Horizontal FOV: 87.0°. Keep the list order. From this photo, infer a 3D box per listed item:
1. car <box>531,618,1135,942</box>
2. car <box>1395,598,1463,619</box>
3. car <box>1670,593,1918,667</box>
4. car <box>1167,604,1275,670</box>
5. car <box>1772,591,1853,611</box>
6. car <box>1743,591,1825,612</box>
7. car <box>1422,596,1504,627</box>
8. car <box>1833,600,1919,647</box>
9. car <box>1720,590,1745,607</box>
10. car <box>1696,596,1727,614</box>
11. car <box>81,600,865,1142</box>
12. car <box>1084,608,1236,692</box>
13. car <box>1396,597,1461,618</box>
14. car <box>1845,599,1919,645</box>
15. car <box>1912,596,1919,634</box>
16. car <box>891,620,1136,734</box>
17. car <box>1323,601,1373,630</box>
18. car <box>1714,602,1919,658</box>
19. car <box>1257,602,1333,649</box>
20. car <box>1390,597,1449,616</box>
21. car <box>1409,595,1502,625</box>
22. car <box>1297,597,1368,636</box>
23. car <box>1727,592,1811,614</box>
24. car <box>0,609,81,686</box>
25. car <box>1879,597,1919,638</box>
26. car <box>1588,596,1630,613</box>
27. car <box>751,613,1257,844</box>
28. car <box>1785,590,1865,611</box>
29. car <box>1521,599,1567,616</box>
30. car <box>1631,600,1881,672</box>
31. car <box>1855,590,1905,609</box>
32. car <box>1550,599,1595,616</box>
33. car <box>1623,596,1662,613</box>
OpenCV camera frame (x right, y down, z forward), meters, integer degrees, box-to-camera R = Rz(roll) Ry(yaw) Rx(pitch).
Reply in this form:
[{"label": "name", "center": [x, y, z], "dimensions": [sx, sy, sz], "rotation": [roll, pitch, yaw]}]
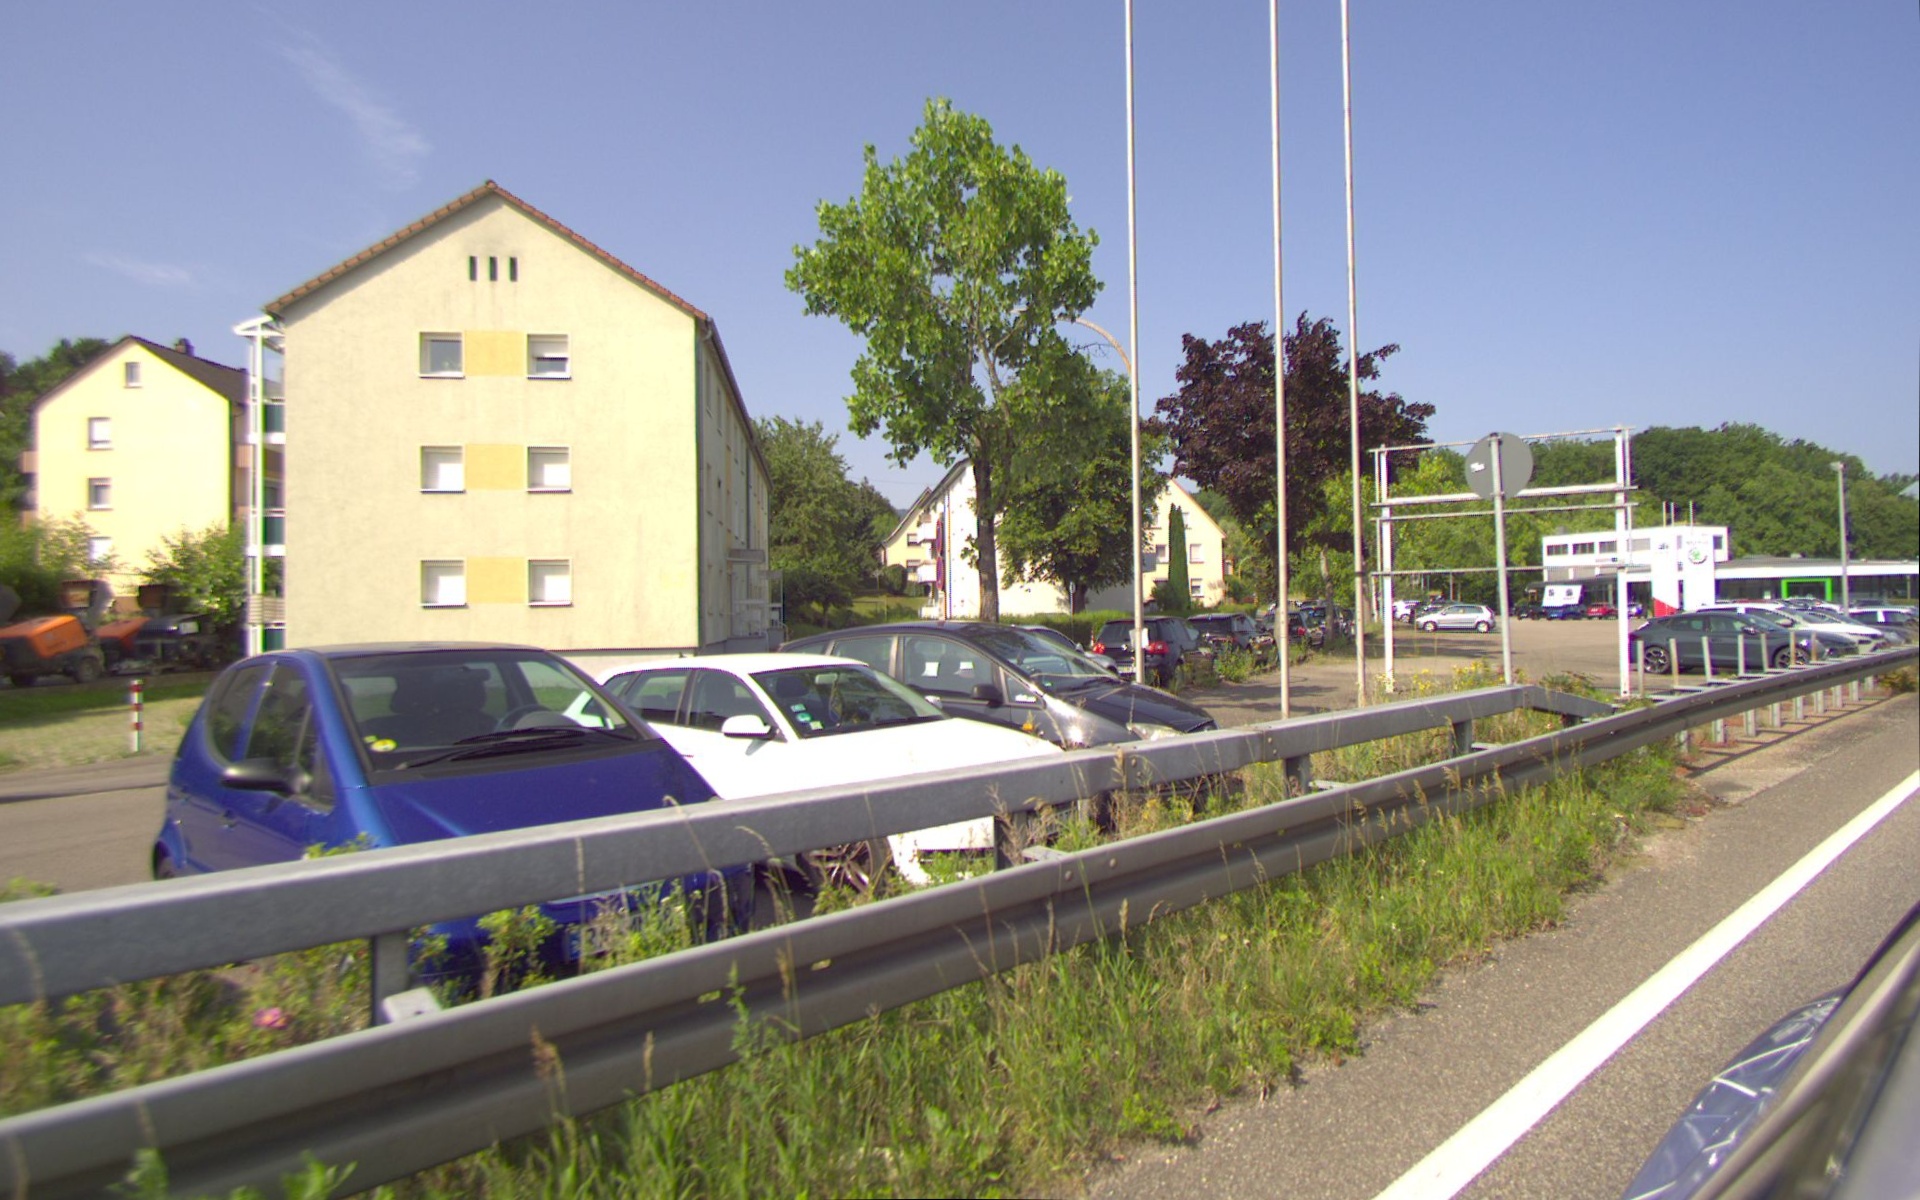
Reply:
[{"label": "car", "center": [-1.045, 0.990, 6.737], "dimensions": [3.981, 1.468, 1.739], "rotation": [-5, -3, 41]}, {"label": "car", "center": [36.175, 0.643, 78.180], "dimensions": [4.703, 1.477, 1.915], "rotation": [0, 1, 26]}, {"label": "car", "center": [20.804, 0.680, 25.460], "dimensions": [2.096, 1.660, 4.339], "rotation": [-1, 0, -27]}, {"label": "car", "center": [6.516, 0.853, 25.040], "dimensions": [1.695, 1.423, 3.624], "rotation": [0, 0, 30]}, {"label": "car", "center": [70.327, 0.042, 83.593], "dimensions": [1.893, 1.584, 4.757], "rotation": [-1, 1, -29]}, {"label": "car", "center": [65.378, 0.114, 80.377], "dimensions": [1.893, 1.584, 4.757], "rotation": [-1, 1, -29]}, {"label": "car", "center": [25.883, 0.570, 52.120], "dimensions": [3.732, 1.541, 1.640], "rotation": [0, 0, 29]}, {"label": "car", "center": [32.917, 0.790, 34.896], "dimensions": [1.665, 1.541, 4.000], "rotation": [-1, 0, -35]}, {"label": "car", "center": [77.555, -0.175, 101.619], "dimensions": [1.782, 1.584, 4.294], "rotation": [1, 1, 40]}, {"label": "car", "center": [69.544, 0.439, 93.677], "dimensions": [1.995, 1.565, 4.543], "rotation": [1, 1, 41]}, {"label": "car", "center": [-2.692, 0.960, 5.113], "dimensions": [4.223, 1.593, 1.892], "rotation": [-5, -3, 38]}, {"label": "car", "center": [4.173, 0.918, 20.562], "dimensions": [1.695, 1.423, 4.437], "rotation": [0, 0, 30]}, {"label": "car", "center": [37.330, 0.558, 80.717], "dimensions": [4.703, 1.608, 1.915], "rotation": [0, 1, 26]}, {"label": "car", "center": [34.724, 0.787, 36.523], "dimensions": [1.773, 1.588, 3.859], "rotation": [-1, 0, -35]}, {"label": "car", "center": [43.565, 0.642, 43.181], "dimensions": [1.852, 1.660, 4.000], "rotation": [-1, 0, -35]}, {"label": "car", "center": [0.986, 1.060, 15.690], "dimensions": [1.777, 1.438, 4.382], "rotation": [0, 0, 35]}, {"label": "car", "center": [17.603, 0.688, 45.865], "dimensions": [1.581, 1.201, 3.624], "rotation": [0, 0, 30]}, {"label": "car", "center": [24.579, 0.806, 29.151], "dimensions": [1.598, 1.462, 4.331], "rotation": [-1, 0, -37]}, {"label": "car", "center": [10.824, 0.780, 32.566], "dimensions": [1.642, 1.384, 3.624], "rotation": [0, 0, 30]}, {"label": "car", "center": [42.022, 0.555, 92.575], "dimensions": [4.716, 1.654, 1.910], "rotation": [1, 1, 33]}, {"label": "car", "center": [27.300, 0.540, 55.834], "dimensions": [4.461, 1.620, 1.821], "rotation": [0, 0, 32]}, {"label": "car", "center": [14.752, 0.602, 39.964], "dimensions": [1.898, 1.423, 4.477], "rotation": [0, 0, 30]}, {"label": "car", "center": [63.036, 0.212, 78.923], "dimensions": [1.893, 1.584, 4.757], "rotation": [-1, 1, -29]}, {"label": "car", "center": [-23.212, 1.171, 23.770], "dimensions": [1.781, 1.760, 4.003], "rotation": [-4, 0, -4]}, {"label": "car", "center": [38.881, 0.679, 39.711], "dimensions": [1.747, 1.600, 3.995], "rotation": [-1, 0, -39]}, {"label": "car", "center": [64.131, 0.437, 99.998], "dimensions": [4.523, 1.565, 2.003], "rotation": [-1, 1, -36]}, {"label": "car", "center": [0.258, 0.878, 8.602], "dimensions": [4.044, 1.470, 1.707], "rotation": [0, 0, 35]}, {"label": "car", "center": [72.783, 0.015, 85.193], "dimensions": [1.893, 1.584, 4.757], "rotation": [-1, 1, -29]}, {"label": "car", "center": [58.085, 0.695, 100.651], "dimensions": [4.372, 1.565, 1.842], "rotation": [-1, 1, -28]}, {"label": "car", "center": [18.373, 0.814, 23.549], "dimensions": [1.846, 1.502, 4.163], "rotation": [-1, -1, -33]}, {"label": "car", "center": [79.257, -0.060, 87.254], "dimensions": [1.912, 1.584, 4.710], "rotation": [0, 1, 26]}, {"label": "car", "center": [59.454, 0.686, 98.226], "dimensions": [4.374, 1.565, 1.842], "rotation": [-1, 1, -30]}, {"label": "car", "center": [65.973, 0.439, 97.795], "dimensions": [4.530, 1.565, 2.000], "rotation": [-1, 1, -41]}]
